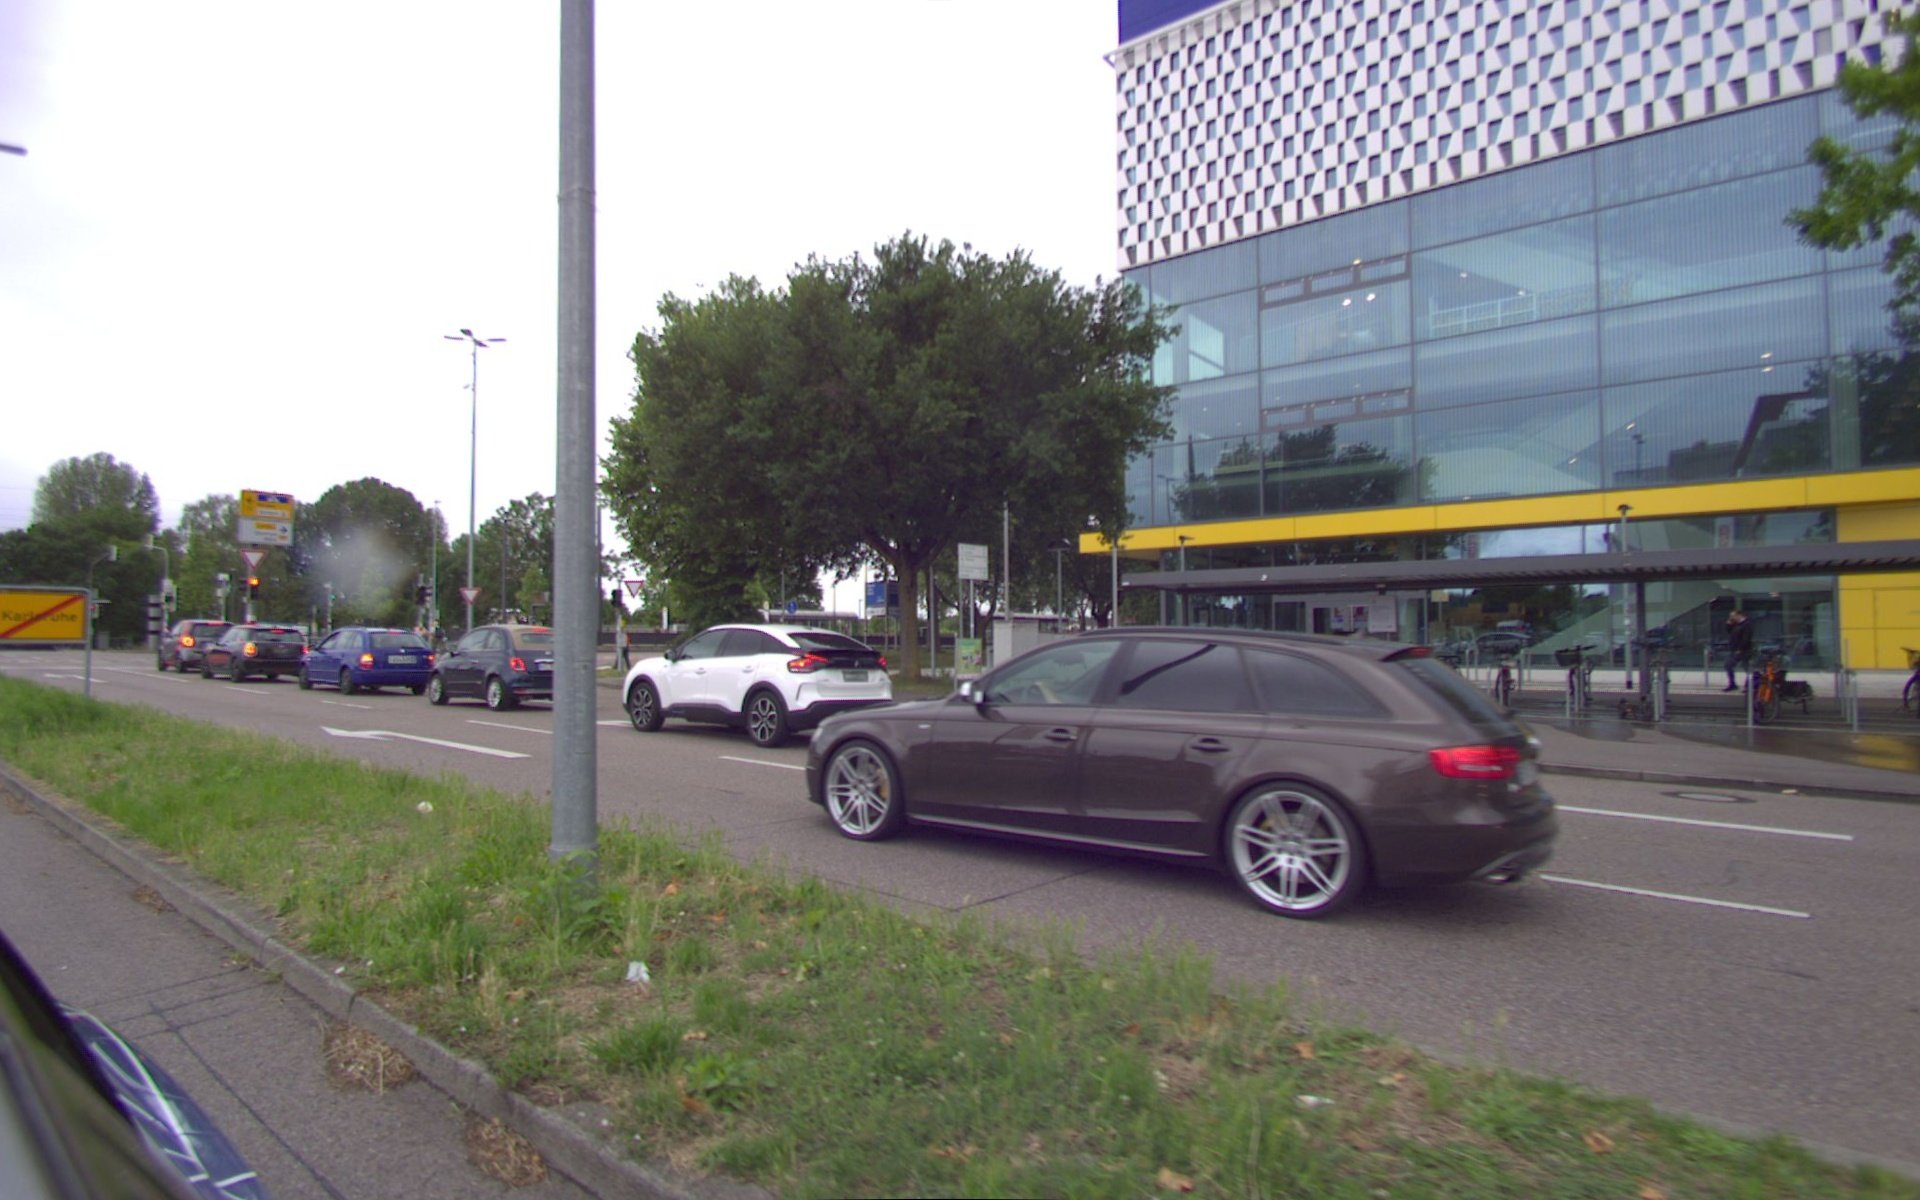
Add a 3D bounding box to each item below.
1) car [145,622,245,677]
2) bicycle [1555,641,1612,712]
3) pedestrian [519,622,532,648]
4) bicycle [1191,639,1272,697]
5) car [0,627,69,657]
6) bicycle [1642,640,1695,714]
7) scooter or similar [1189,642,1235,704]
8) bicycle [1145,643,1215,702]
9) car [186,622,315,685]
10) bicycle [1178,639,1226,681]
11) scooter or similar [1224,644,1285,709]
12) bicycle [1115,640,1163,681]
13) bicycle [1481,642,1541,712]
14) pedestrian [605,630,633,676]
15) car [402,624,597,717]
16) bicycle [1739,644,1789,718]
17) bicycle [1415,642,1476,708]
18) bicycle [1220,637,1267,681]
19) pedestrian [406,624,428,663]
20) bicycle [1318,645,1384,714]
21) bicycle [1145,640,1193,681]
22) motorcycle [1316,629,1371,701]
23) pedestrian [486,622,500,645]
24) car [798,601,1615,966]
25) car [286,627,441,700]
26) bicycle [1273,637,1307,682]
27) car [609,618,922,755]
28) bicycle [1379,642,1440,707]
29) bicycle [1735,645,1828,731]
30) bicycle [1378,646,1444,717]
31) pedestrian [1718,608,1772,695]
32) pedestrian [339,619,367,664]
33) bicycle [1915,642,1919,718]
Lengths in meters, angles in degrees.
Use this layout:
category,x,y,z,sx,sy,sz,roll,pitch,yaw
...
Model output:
category,x,y,z,sx,sy,sz,roll,pitch,yaw
car,-22.592,1.447,29.846,3.206,1.514,1.587,-2,-3,39
bicycle,11.633,1.393,18.855,0.593,1.165,1.995,-2,-1,40
pedestrian,-30.691,2.479,71.529,0.788,1.755,0.578,-5,-4,42
bicycle,6.159,1.517,22.927,1.988,1.165,0.595,-1,-1,-34
car,-47.266,2.097,50.185,1.664,1.419,4.343,-3,-3,19
bicycle,12.636,1.341,18.029,0.593,1.165,1.995,-2,-1,40
scooter or similar,5.197,1.489,20.951,0.353,1.194,1.296,-1,-1,-13
bicycle,4.681,1.504,21.462,0.593,1.165,1.995,-2,-2,40
car,-18.424,1.361,26.218,4.061,1.514,1.645,-1,-4,40
bicycle,7.235,1.775,30.224,0.593,1.165,1.996,-2,-1,38
scooter or similar,5.642,1.452,19.446,0.417,1.157,1.353,-1,-1,-19
bicycle,5.622,1.873,31.737,0.593,1.165,1.996,-2,-1,38
bicycle,10.431,1.421,19.134,0.593,1.165,1.995,-2,-1,40
pedestrian,-12.880,1.990,38.203,0.808,1.655,0.627,1,-1,37
car,-8.470,1.235,18.482,4.033,1.509,1.586,-1,-4,40
bicycle,13.484,1.329,16.967,0.593,1.090,1.791,-2,-1,40
bicycle,9.689,1.470,20.154,0.593,1.165,1.995,-2,-1,40
bicycle,8.241,1.700,29.362,0.593,1.165,1.996,-2,-1,38
pedestrian,-24.642,1.971,45.909,0.766,1.725,0.666,-1,-2,44
bicycle,7.501,1.491,19.362,0.593,1.165,1.875,-2,-1,40
bicycle,6.399,1.825,30.945,0.593,1.165,1.996,-2,-1,38
motorcycle,8.217,1.347,21.642,0.796,1.366,2.477,-2,-1,27
pedestrian,-31.846,2.290,68.956,0.711,1.572,0.624,-5,-4,41
car,1.269,0.818,6.131,4.424,1.448,1.865,-1,-4,37
car,-13.239,1.370,22.376,4.139,1.455,1.586,-1,-4,40
bicycle,9.272,1.654,28.413,0.590,1.165,2.004,-2,-1,27
car,-2.709,1.061,13.595,4.179,1.530,1.911,-1,-4,41
bicycle,9.192,1.489,20.664,0.593,1.165,1.995,-2,-1,40
bicycle,12.690,1.316,15.612,1.989,1.165,0.595,-1,-1,-36
bicycle,8.346,1.470,18.690,0.593,1.165,1.875,-2,-1,40
pedestrian,16.274,1.058,20.969,0.807,1.759,0.670,-3,-2,40
pedestrian,-25.027,1.727,41.721,0.686,1.778,0.656,3,-3,37
bicycle,15.320,1.266,15.746,0.593,1.131,1.994,-2,-1,42
